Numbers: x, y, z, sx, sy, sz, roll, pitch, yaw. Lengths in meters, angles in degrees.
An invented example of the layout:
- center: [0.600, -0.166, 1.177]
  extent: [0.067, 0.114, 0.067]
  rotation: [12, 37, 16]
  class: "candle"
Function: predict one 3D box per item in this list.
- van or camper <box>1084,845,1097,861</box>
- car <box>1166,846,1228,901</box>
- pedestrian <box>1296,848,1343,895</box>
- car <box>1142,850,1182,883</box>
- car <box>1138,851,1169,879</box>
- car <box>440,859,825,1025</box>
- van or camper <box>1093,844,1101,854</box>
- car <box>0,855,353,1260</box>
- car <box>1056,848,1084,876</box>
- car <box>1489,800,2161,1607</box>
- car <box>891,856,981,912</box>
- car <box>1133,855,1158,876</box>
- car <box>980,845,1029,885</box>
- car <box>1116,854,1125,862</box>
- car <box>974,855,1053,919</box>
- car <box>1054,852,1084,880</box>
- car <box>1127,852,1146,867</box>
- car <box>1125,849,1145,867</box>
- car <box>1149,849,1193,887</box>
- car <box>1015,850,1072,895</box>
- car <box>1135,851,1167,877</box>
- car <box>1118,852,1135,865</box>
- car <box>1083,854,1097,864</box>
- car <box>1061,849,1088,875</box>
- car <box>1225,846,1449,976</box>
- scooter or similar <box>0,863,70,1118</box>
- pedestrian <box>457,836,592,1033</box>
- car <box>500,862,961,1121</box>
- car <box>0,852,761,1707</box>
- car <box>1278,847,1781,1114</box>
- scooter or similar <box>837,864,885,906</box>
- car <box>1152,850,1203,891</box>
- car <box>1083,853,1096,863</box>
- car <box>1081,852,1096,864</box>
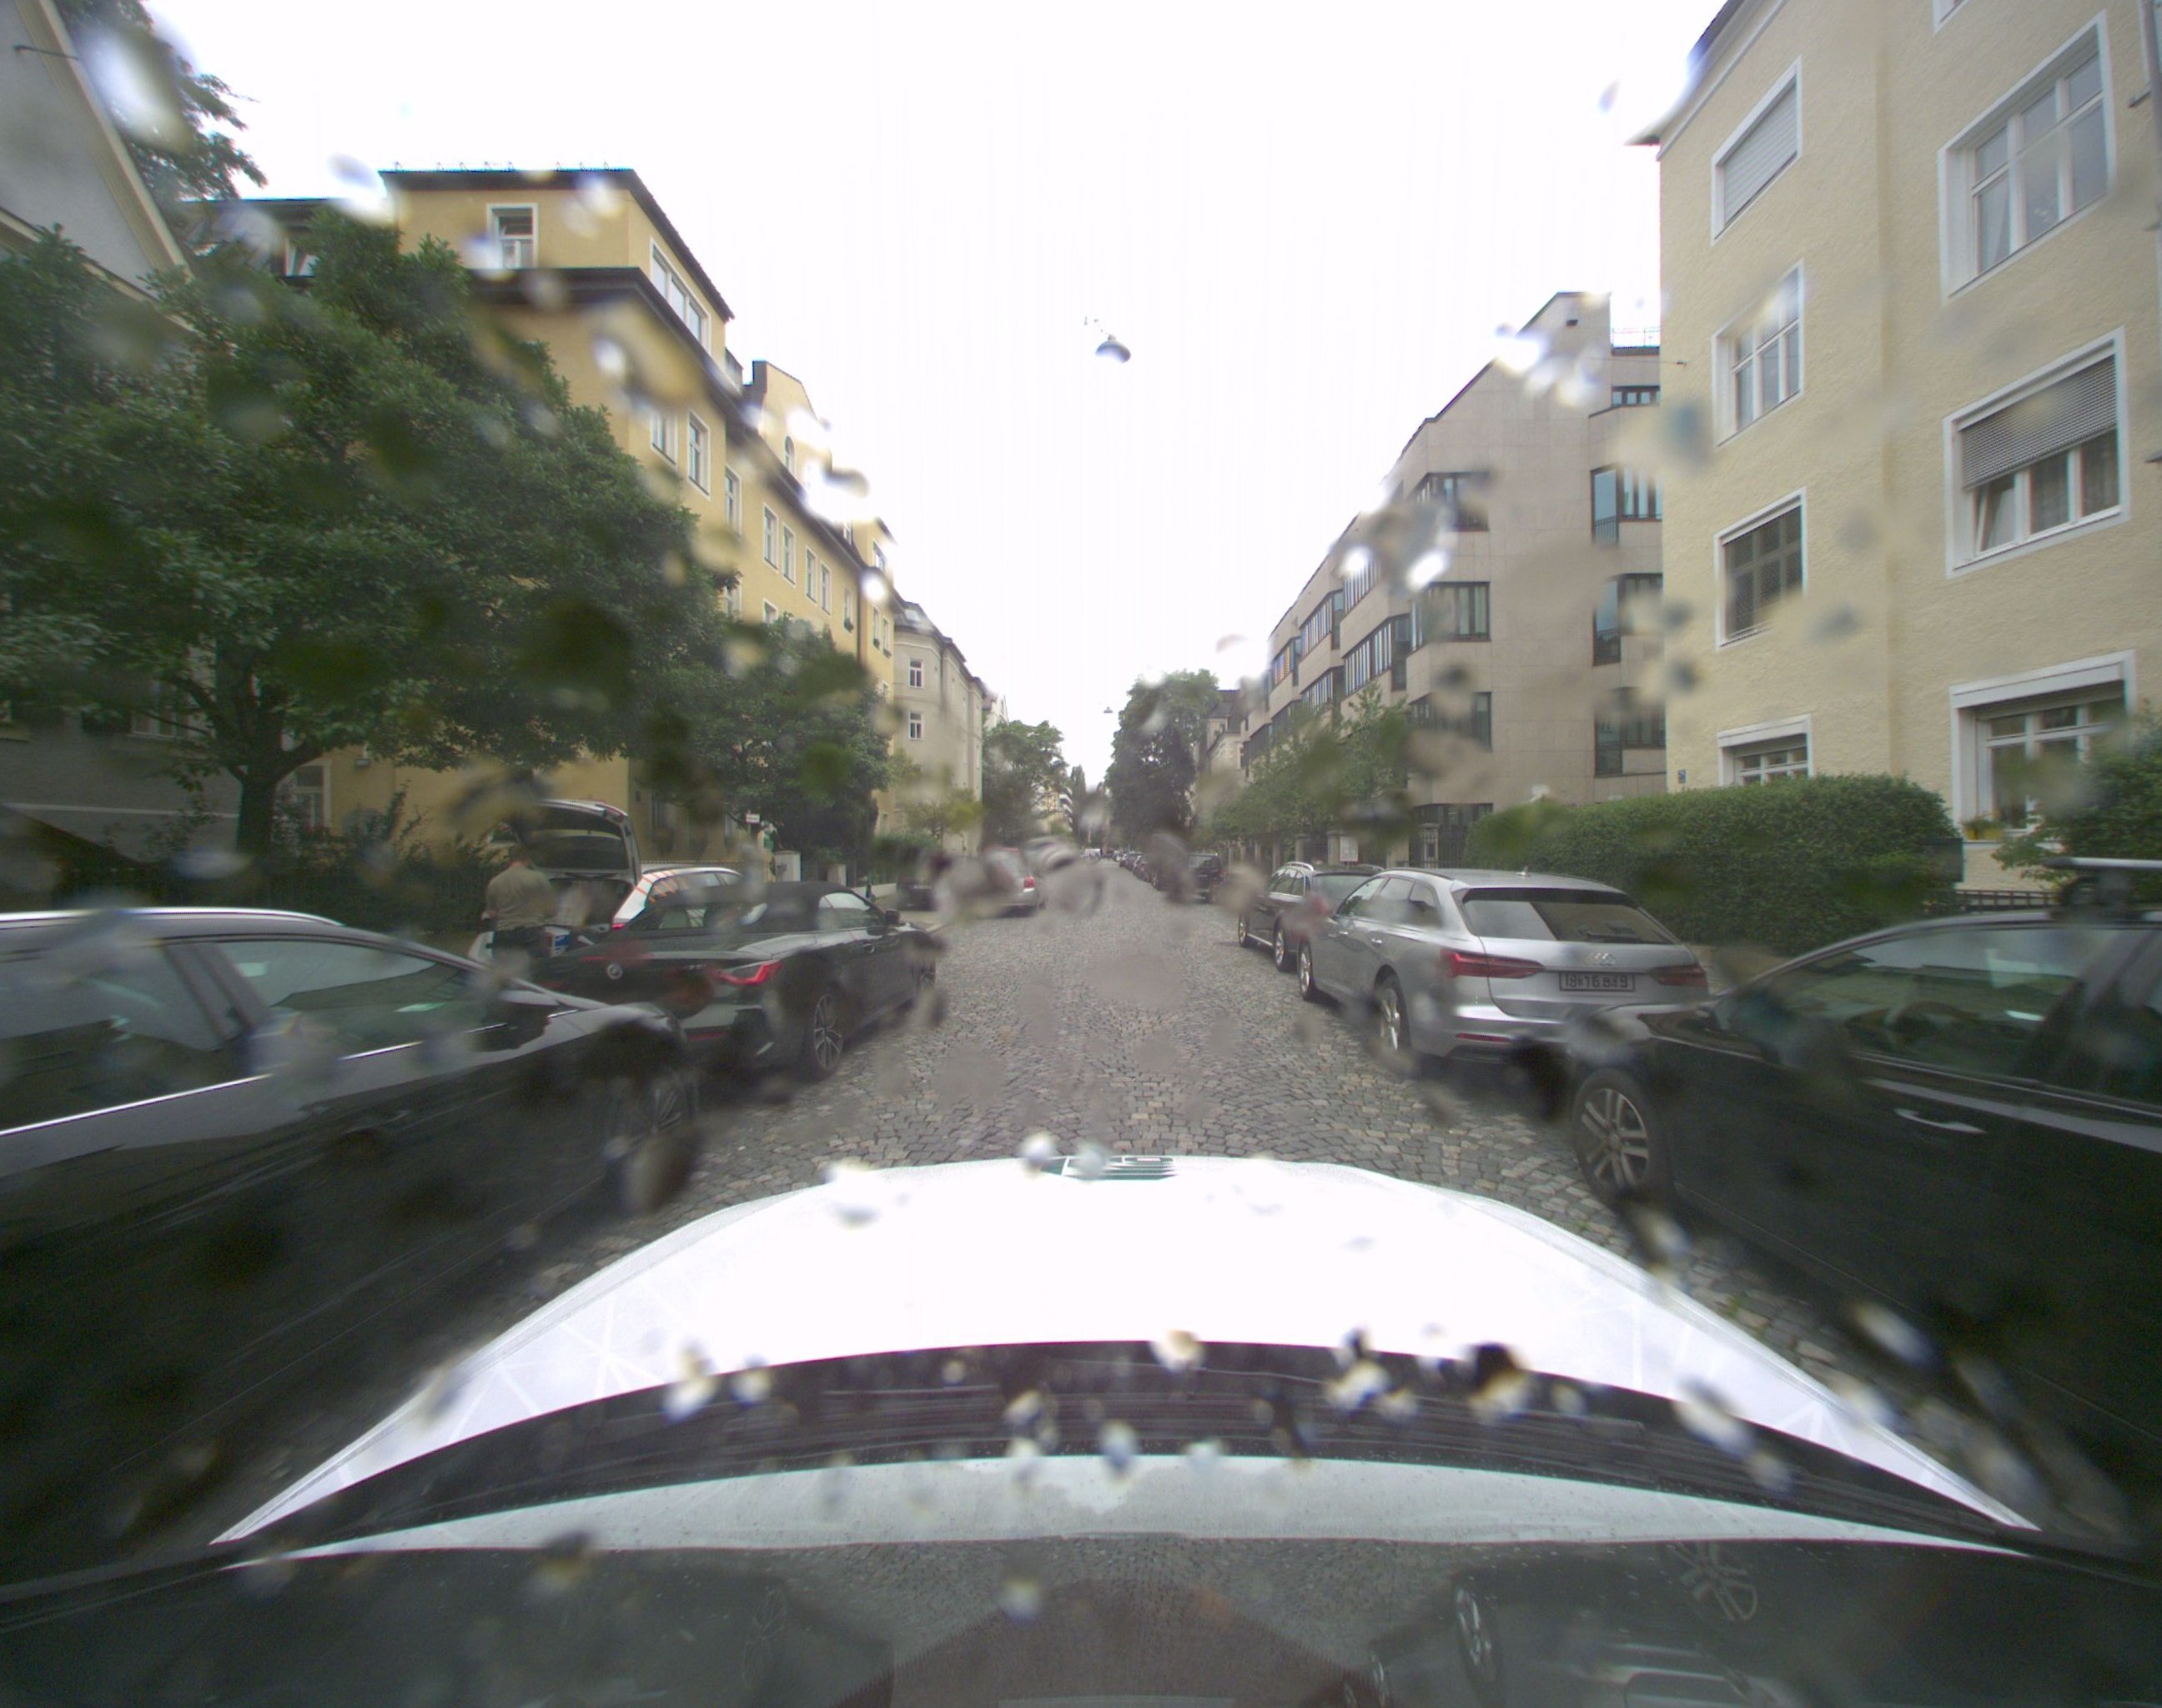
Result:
- center: [1.694, -0.150, 145.129]
  extent: [1.986, 2.652, 4.002]
  rotation: [-3, 0, 2]
  class: "van or camper"
- center: [4.014, 0.644, 28.757]
  extent: [1.613, 1.751, 3.887]
  rotation: [2, 0, 0]
  class: "car"
- center: [7.960, 0.574, 27.215]
  extent: [1.211, 1.493, 1.130]
  rotation: [-3, 0, 4]
  class: "pedestrian"
- center: [4.786, 0.715, 48.660]
  extent: [1.866, 1.735, 4.659]
  rotation: [3, 0, 1]
  class: "car"
- center: [4.713, 0.705, 53.732]
  extent: [1.865, 1.735, 4.895]
  rotation: [1, 0, 3]
  class: "car"
- center: [-4.708, 0.790, 9.512]
  extent: [1.769, 1.417, 4.564]
  rotation: [1, 0, 3]
  class: "car"
- center: [4.549, -1.332, 229.709]
  extent: [2.247, 2.742, 5.100]
  rotation: [0, 0, 2]
  class: "van or camper"
- center: [-5.029, 0.780, 2.356]
  extent: [1.733, 1.536, 4.468]
  rotation: [1, 0, 1]
  class: "car"
- center: [-0.799, 0.603, 61.129]
  extent: [1.866, 1.917, 4.828]
  rotation: [-3, 0, 1]
  class: "car"
- center: [3.186, 0.729, 2.423]
  extent: [1.887, 1.654, 4.295]
  rotation: [1, 0, 1]
  class: "car"
- center: [-4.259, 0.823, 24.660]
  extent: [1.709, 1.497, 4.723]
  rotation: [1, 0, 2]
  class: "car"
- center: [5.082, 0.903, 64.655]
  extent: [1.865, 1.490, 4.621]
  rotation: [2, 1, 4]
  class: "car"
- center: [-3.876, 0.527, 42.126]
  extent: [1.987, 1.931, 5.331]
  rotation: [1, 0, 1]
  class: "car"
- center: [8.125, 0.789, 165.903]
  extent: [1.783, 1.520, 4.002]
  rotation: [-1, 0, 2]
  class: "car"
- center: [-1.807, 0.852, 23.143]
  extent: [1.707, 1.562, 4.392]
  rotation: [-3, 0, 2]
  class: "car"
- center: [-0.806, 0.765, 56.016]
  extent: [1.860, 1.735, 4.402]
  rotation: [-3, 0, -1]
  class: "car"
- center: [5.866, 0.598, 86.520]
  extent: [1.829, 1.490, 4.424]
  rotation: [2, 0, 3]
  class: "car"
- center: [6.087, 0.396, 92.238]
  extent: [1.867, 1.928, 5.163]
  rotation: [2, 0, 0]
  class: "car"
- center: [4.662, 0.676, 42.673]
  extent: [1.782, 1.796, 4.509]
  rotation: [3, 0, 0]
  class: "car"
- center: [-1.594, 0.774, 36.516]
  extent: [1.998, 1.809, 5.178]
  rotation: [-2, 0, 3]
  class: "car"
- center: [5.063, 0.699, 59.519]
  extent: [1.867, 1.735, 4.746]
  rotation: [3, 0, -1]
  class: "car"
- center: [5.805, 0.580, 104.234]
  extent: [1.867, 1.503, 4.510]
  rotation: [2, 0, 0]
  class: "car"
- center: [1.470, 0.843, 130.147]
  extent: [1.864, 1.580, 4.214]
  rotation: [1, 0, 5]
  class: "car"
- center: [-0.516, 0.665, 67.534]
  extent: [1.986, 1.917, 5.178]
  rotation: [-4, 0, 1]
  class: "car"
- center: [3.611, 0.706, 12.581]
  extent: [1.986, 1.552, 5.016]
  rotation: [2, 0, 2]
  class: "car"
- center: [-7.030, 0.827, 3.884]
  extent: [1.058, 1.523, 2.636]
  rotation: [-1, 0, 2]
  class: "scooter or similar"
- center: [-4.848, 0.674, 7.130]
  extent: [0.763, 1.650, 0.583]
  rotation: [0, 0, 3]
  class: "pedestrian"
- center: [-2.507, 0.864, 7.421]
  extent: [1.807, 1.455, 4.916]
  rotation: [-3, 0, 3]
  class: "car"
- center: [-2.783, 0.831, 2.430]
  extent: [1.733, 1.603, 4.538]
  rotation: [-2, 0, 1]
  class: "car"
- center: [3.280, 0.755, 7.365]
  extent: [1.985, 1.552, 4.989]
  rotation: [1, 0, 3]
  class: "car"
- center: [-6.595, 0.914, 24.526]
  extent: [0.952, 1.200, 1.523]
  rotation: [2, 0, 2]
  class: "scooter or similar"
- center: [4.346, 0.713, 37.235]
  extent: [1.853, 1.702, 4.815]
  rotation: [2, 0, 2]
  class: "car"
- center: [1.218, 0.589, 118.383]
  extent: [1.867, 1.451, 4.207]
  rotation: [-2, 0, 0]
  class: "car"
- center: [1.025, 0.570, 112.353]
  extent: [1.867, 1.580, 4.254]
  rotation: [-3, 0, 0]
  class: "car"
